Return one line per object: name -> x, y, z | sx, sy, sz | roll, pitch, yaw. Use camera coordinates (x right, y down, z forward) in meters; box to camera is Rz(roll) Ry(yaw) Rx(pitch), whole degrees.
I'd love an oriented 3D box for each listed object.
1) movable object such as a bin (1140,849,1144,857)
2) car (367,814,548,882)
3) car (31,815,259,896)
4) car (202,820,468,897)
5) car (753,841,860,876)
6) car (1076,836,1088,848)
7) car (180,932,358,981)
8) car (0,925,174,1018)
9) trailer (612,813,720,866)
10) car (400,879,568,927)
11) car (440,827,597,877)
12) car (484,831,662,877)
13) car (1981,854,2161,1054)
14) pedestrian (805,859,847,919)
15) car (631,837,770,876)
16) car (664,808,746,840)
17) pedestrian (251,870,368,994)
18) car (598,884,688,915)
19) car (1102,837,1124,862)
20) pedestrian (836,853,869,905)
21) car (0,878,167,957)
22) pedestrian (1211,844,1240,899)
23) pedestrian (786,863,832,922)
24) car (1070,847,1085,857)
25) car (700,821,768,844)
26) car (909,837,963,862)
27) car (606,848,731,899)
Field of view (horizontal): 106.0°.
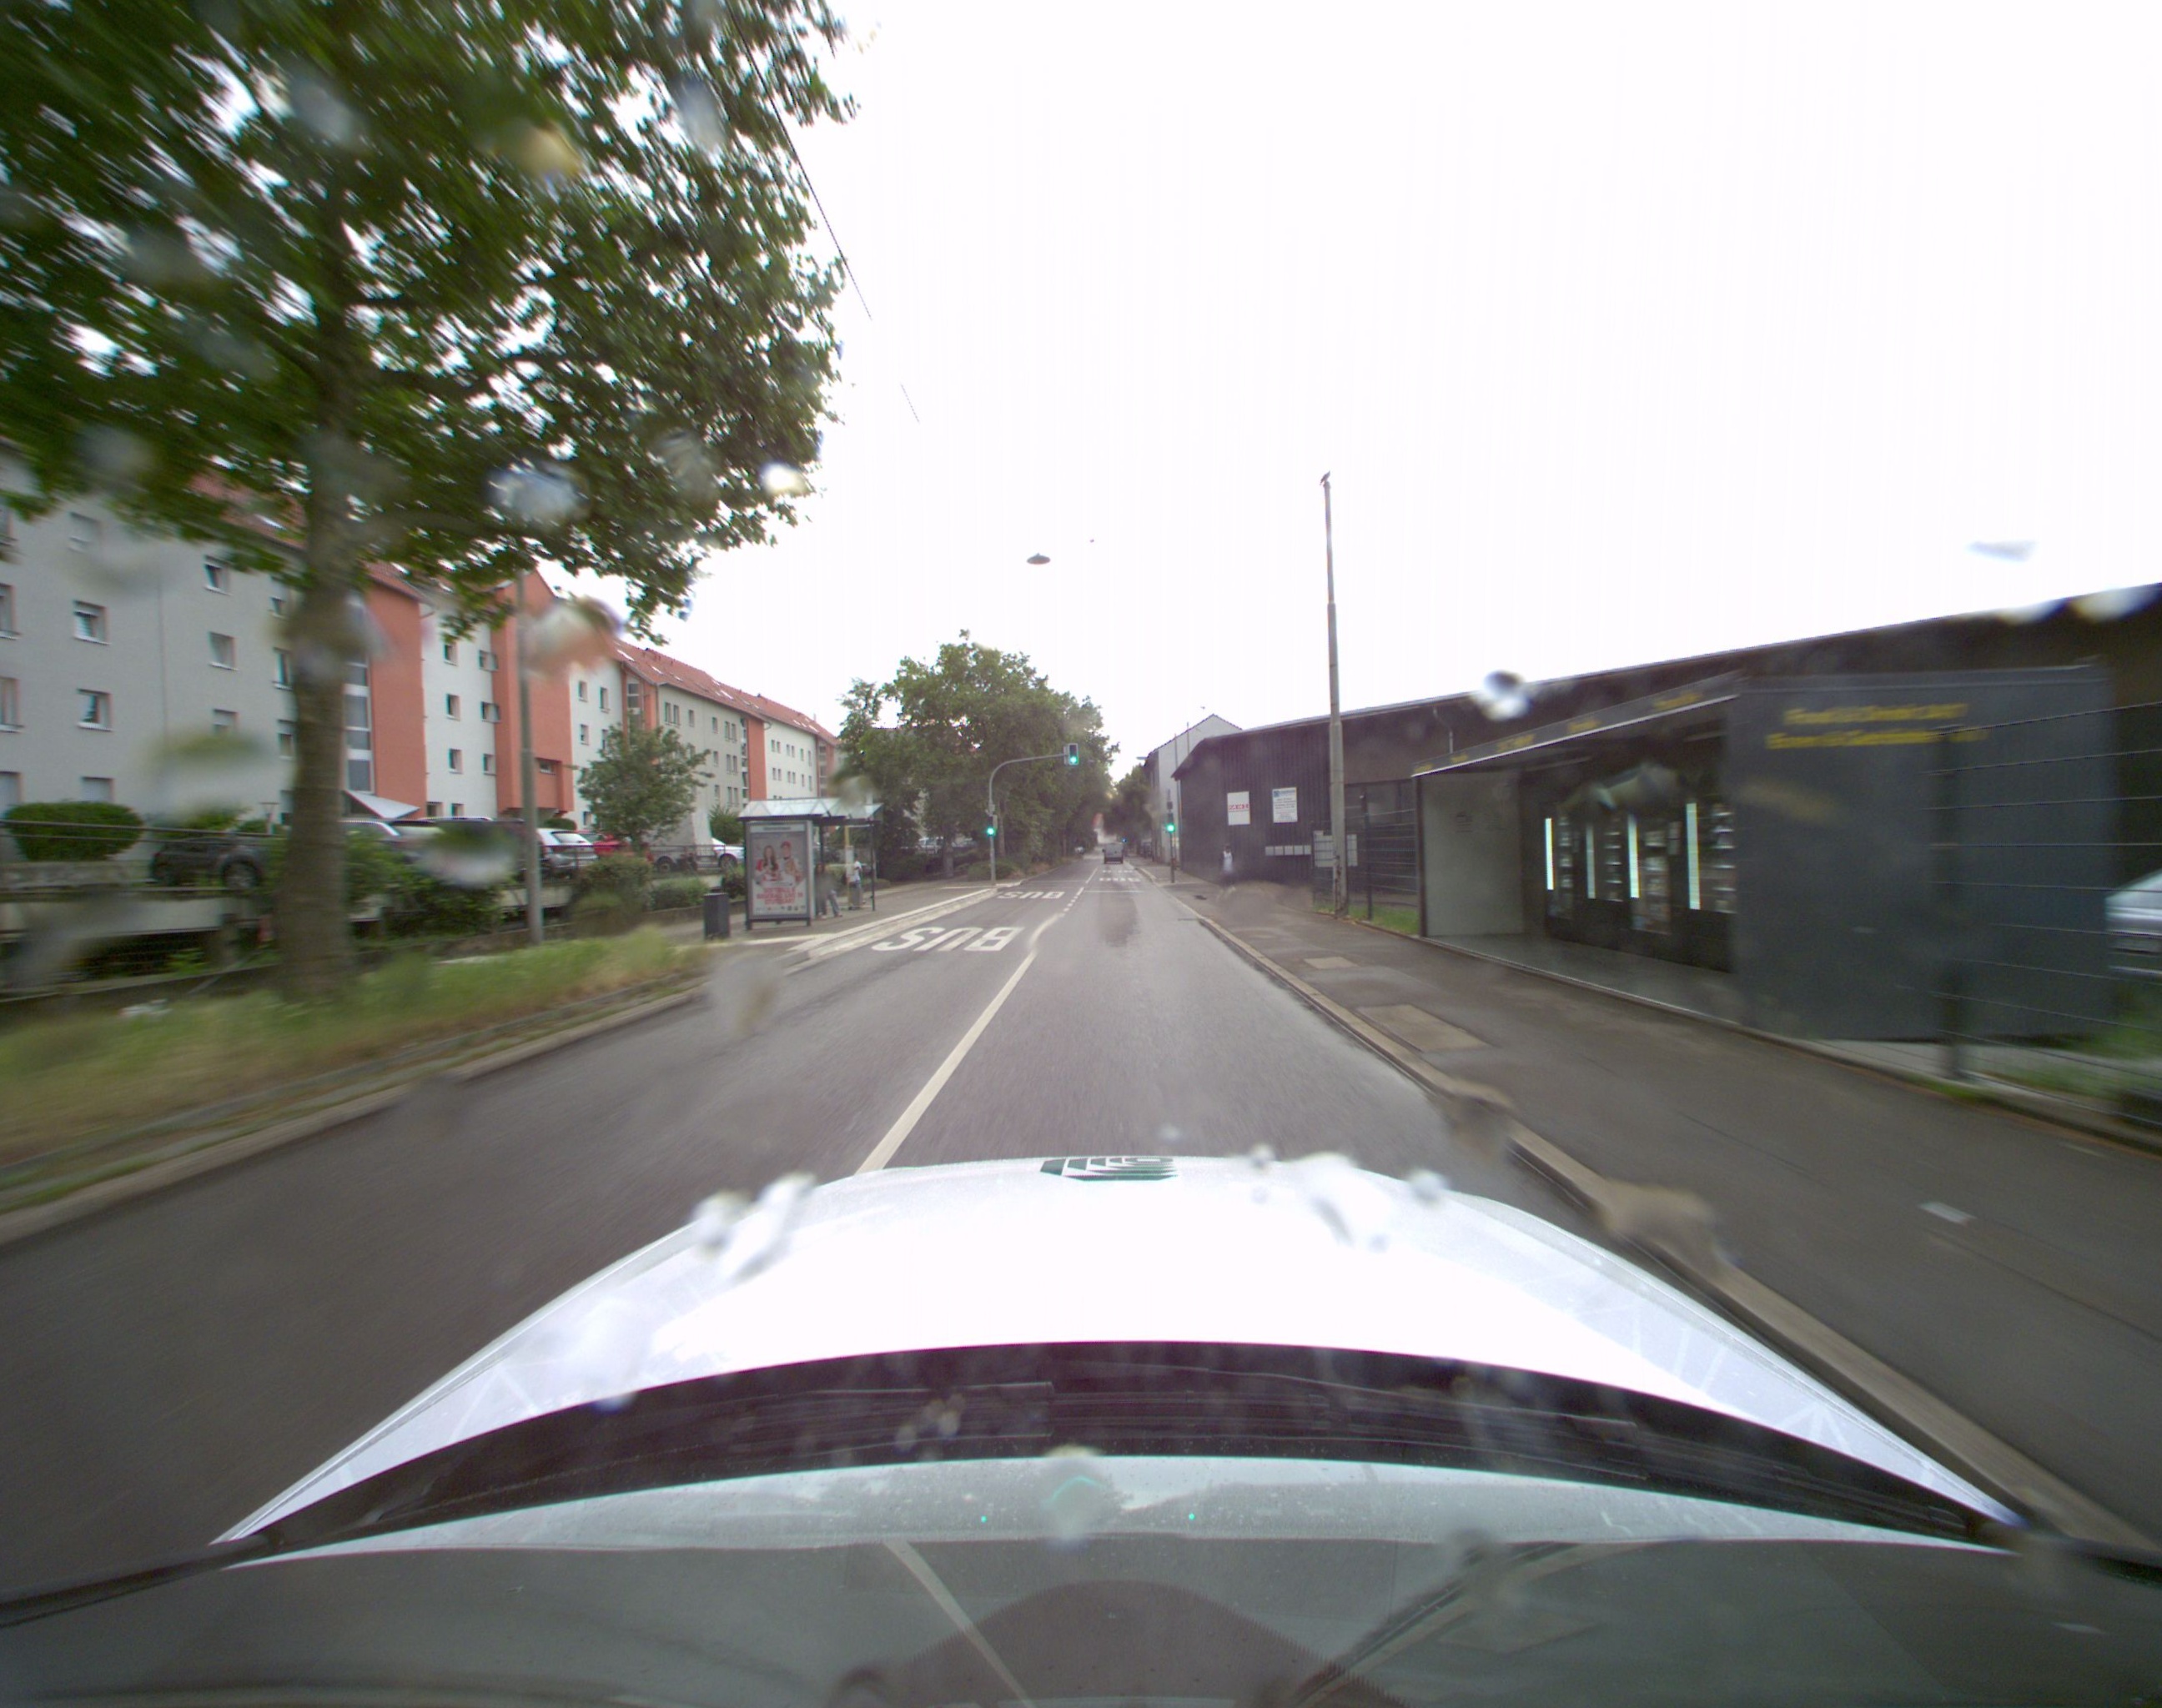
movable object such as a bin -> 8.925, -0.182, 118.940 | 0.399, 1.066, 0.358 | -5, -1, -4
car -> -14.612, -0.114, 19.194 | 3.118, 1.543, 1.437 | 0, -1, 1
car -> -25.139, 0.044, 21.976 | 3.969, 2.013, 2.003 | -1, 0, 4
car -> -15.284, 0.113, 16.873 | 3.643, 1.498, 1.896 | 0, -1, -2
car -> -13.359, 0.235, 39.849 | 4.529, 1.672, 2.000 | 0, -1, 1
car -> 0.254, -2.585, 174.035 | 2.206, 2.533, 4.614 | 0, 0, 4
car -> -27.082, 3.385, 27.267 | 3.969, 1.397, 2.067 | 0, -1, 4
car -> -25.849, 2.915, 20.465 | 3.969, 2.013, 2.002 | -1, 0, 4
trailer -> -13.319, -0.455, 26.222 | 2.693, 1.645, 1.481 | 0, -1, 2
car -> -18.255, 1.487, 25.002 | 3.953, 1.404, 1.590 | 0, -1, 1
car -> -14.760, -0.036, 21.483 | 3.118, 1.270, 1.437 | 0, -1, 1
car -> -14.880, 0.032, 23.996 | 4.073, 1.303, 1.810 | 0, -1, 1
car -> 10.538, 0.733, 6.660 | 4.365, 1.531, 1.793 | -1, -1, 0
pedestrian -> -6.225, 0.849, 19.904 | 0.684, 1.418, 0.641 | -4, -2, 5
car -> -14.246, 0.113, 30.657 | 4.339, 1.424, 1.860 | 0, -1, 1
car -> -20.621, -1.618, 44.849 | 3.816, 1.602, 1.710 | 0, -1, -15
pedestrian -> -10.459, 1.025, 11.070 | 0.753, 1.611, 0.834 | 0, -2, -3
car -> -23.080, 2.373, 43.030 | 3.798, 1.511, 1.718 | -1, -1, 0
car -> 3.472, -0.493, 87.777 | 2.274, 2.553, 4.002 | -1, -1, 2
pedestrian -> -7.371, 0.814, 26.287 | 0.737, 1.598, 0.607 | -5, -2, 5
car -> -25.530, 1.541, 20.079 | 3.873, 1.750, 2.002 | -1, 0, 4
pedestrian -> 4.572, 0.542, 25.809 | 0.741, 1.704, 0.900 | 0, -1, -4
pedestrian -> -6.388, 0.898, 19.146 | 0.771, 1.317, 0.641 | -4, -2, 5
car -> -0.627, -0.359, 148.478 | 2.205, 1.592, 4.614 | 0, -1, 4
car -> -22.084, -1.385, 51.891 | 3.586, 1.394, 1.543 | 0, -1, 0
car -> -12.177, -0.387, 68.452 | 4.155, 2.013, 1.718 | -1, 0, -1
car -> -14.532, 0.662, 28.796 | 3.496, 1.697, 1.706 | -1, 0, 1
